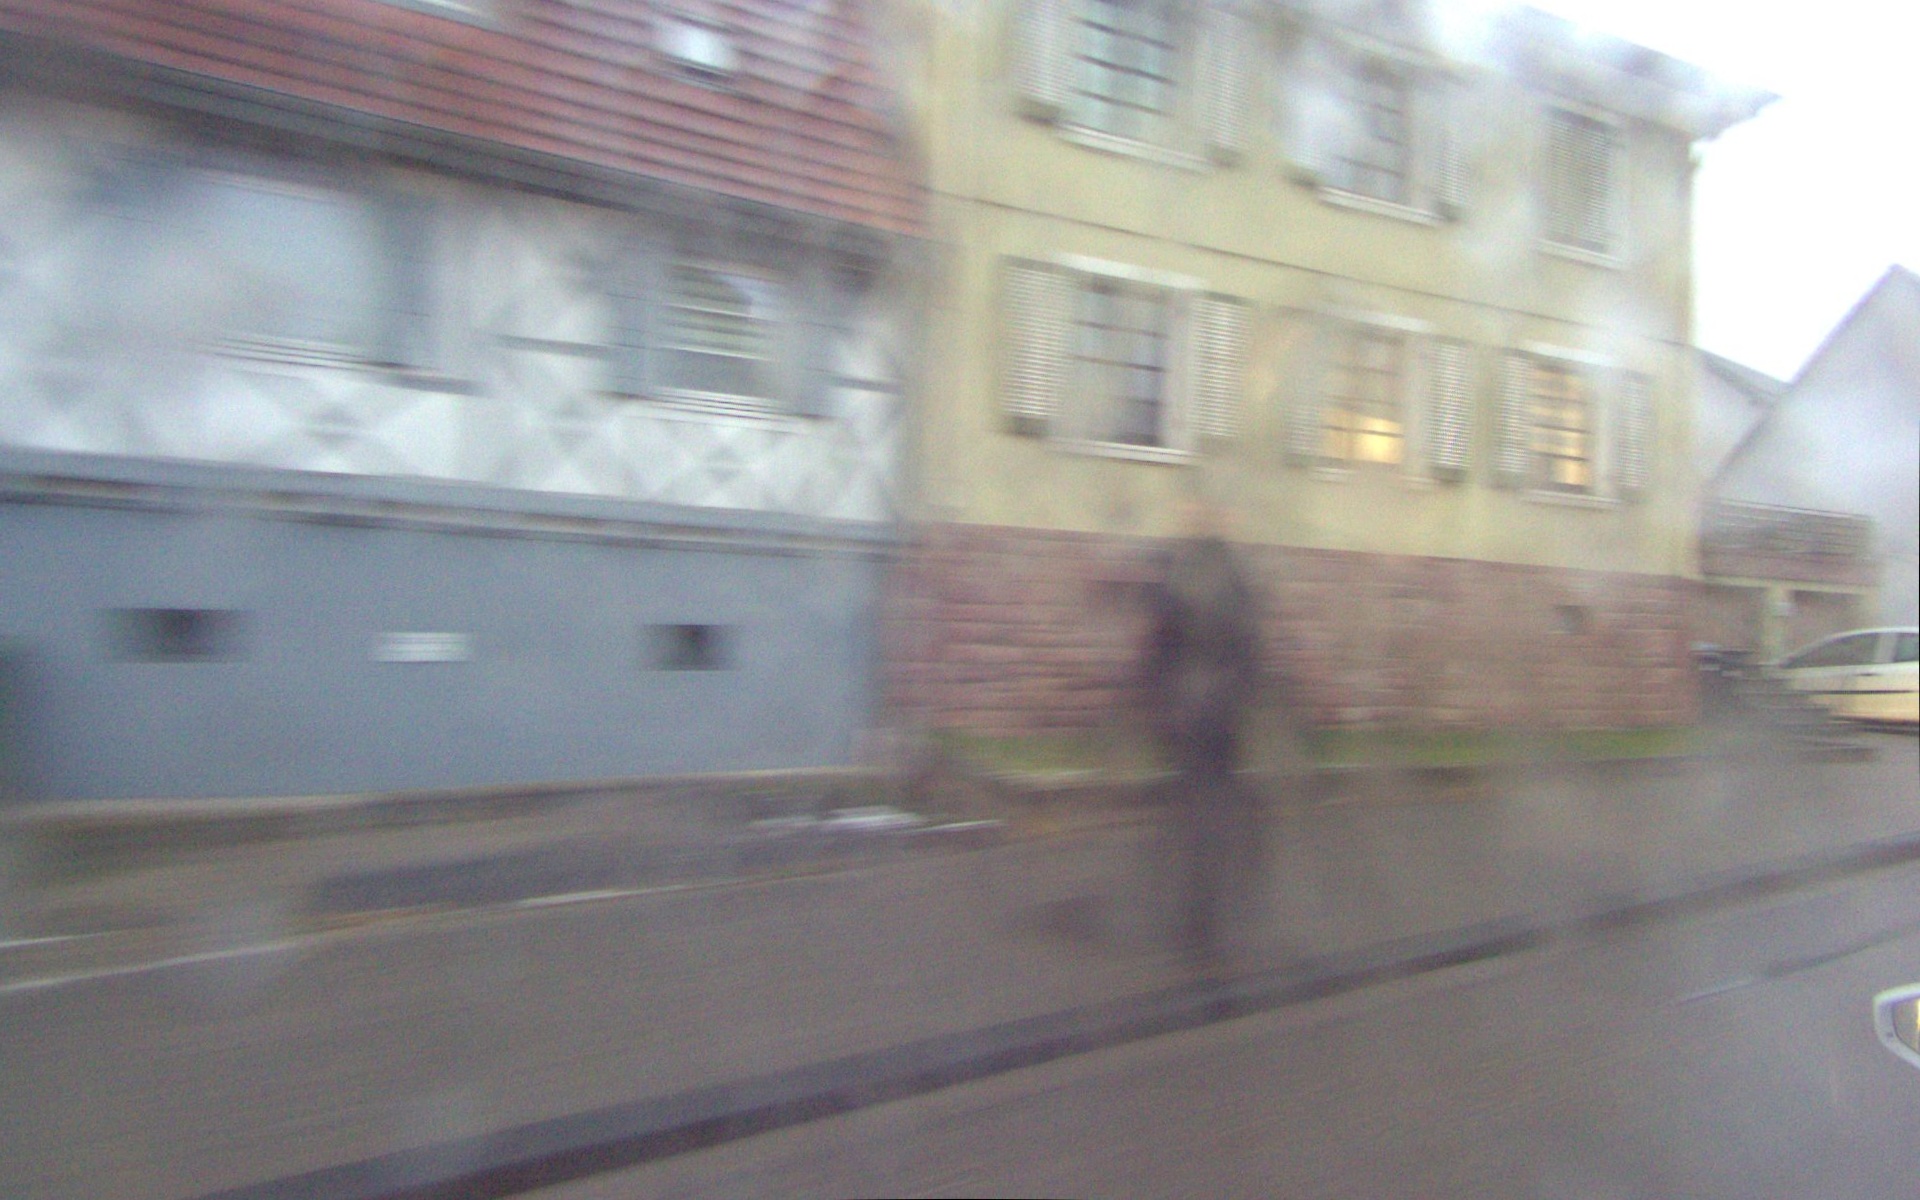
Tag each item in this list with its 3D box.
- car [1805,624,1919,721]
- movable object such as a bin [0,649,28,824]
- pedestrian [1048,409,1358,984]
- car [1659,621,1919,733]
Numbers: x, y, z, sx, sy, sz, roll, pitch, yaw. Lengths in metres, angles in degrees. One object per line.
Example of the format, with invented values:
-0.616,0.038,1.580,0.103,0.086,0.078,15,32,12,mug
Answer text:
16.095,1.140,15.297,1.973,1.490,4.580,1,-1,-25,car
-6.035,0.824,5.937,0.572,1.034,0.615,1,0,-22,movable object such as a bin
0.968,0.351,4.104,0.858,2.040,0.780,2,1,-27,pedestrian
13.273,1.076,14.847,1.864,1.490,4.596,1,-1,-21,car
